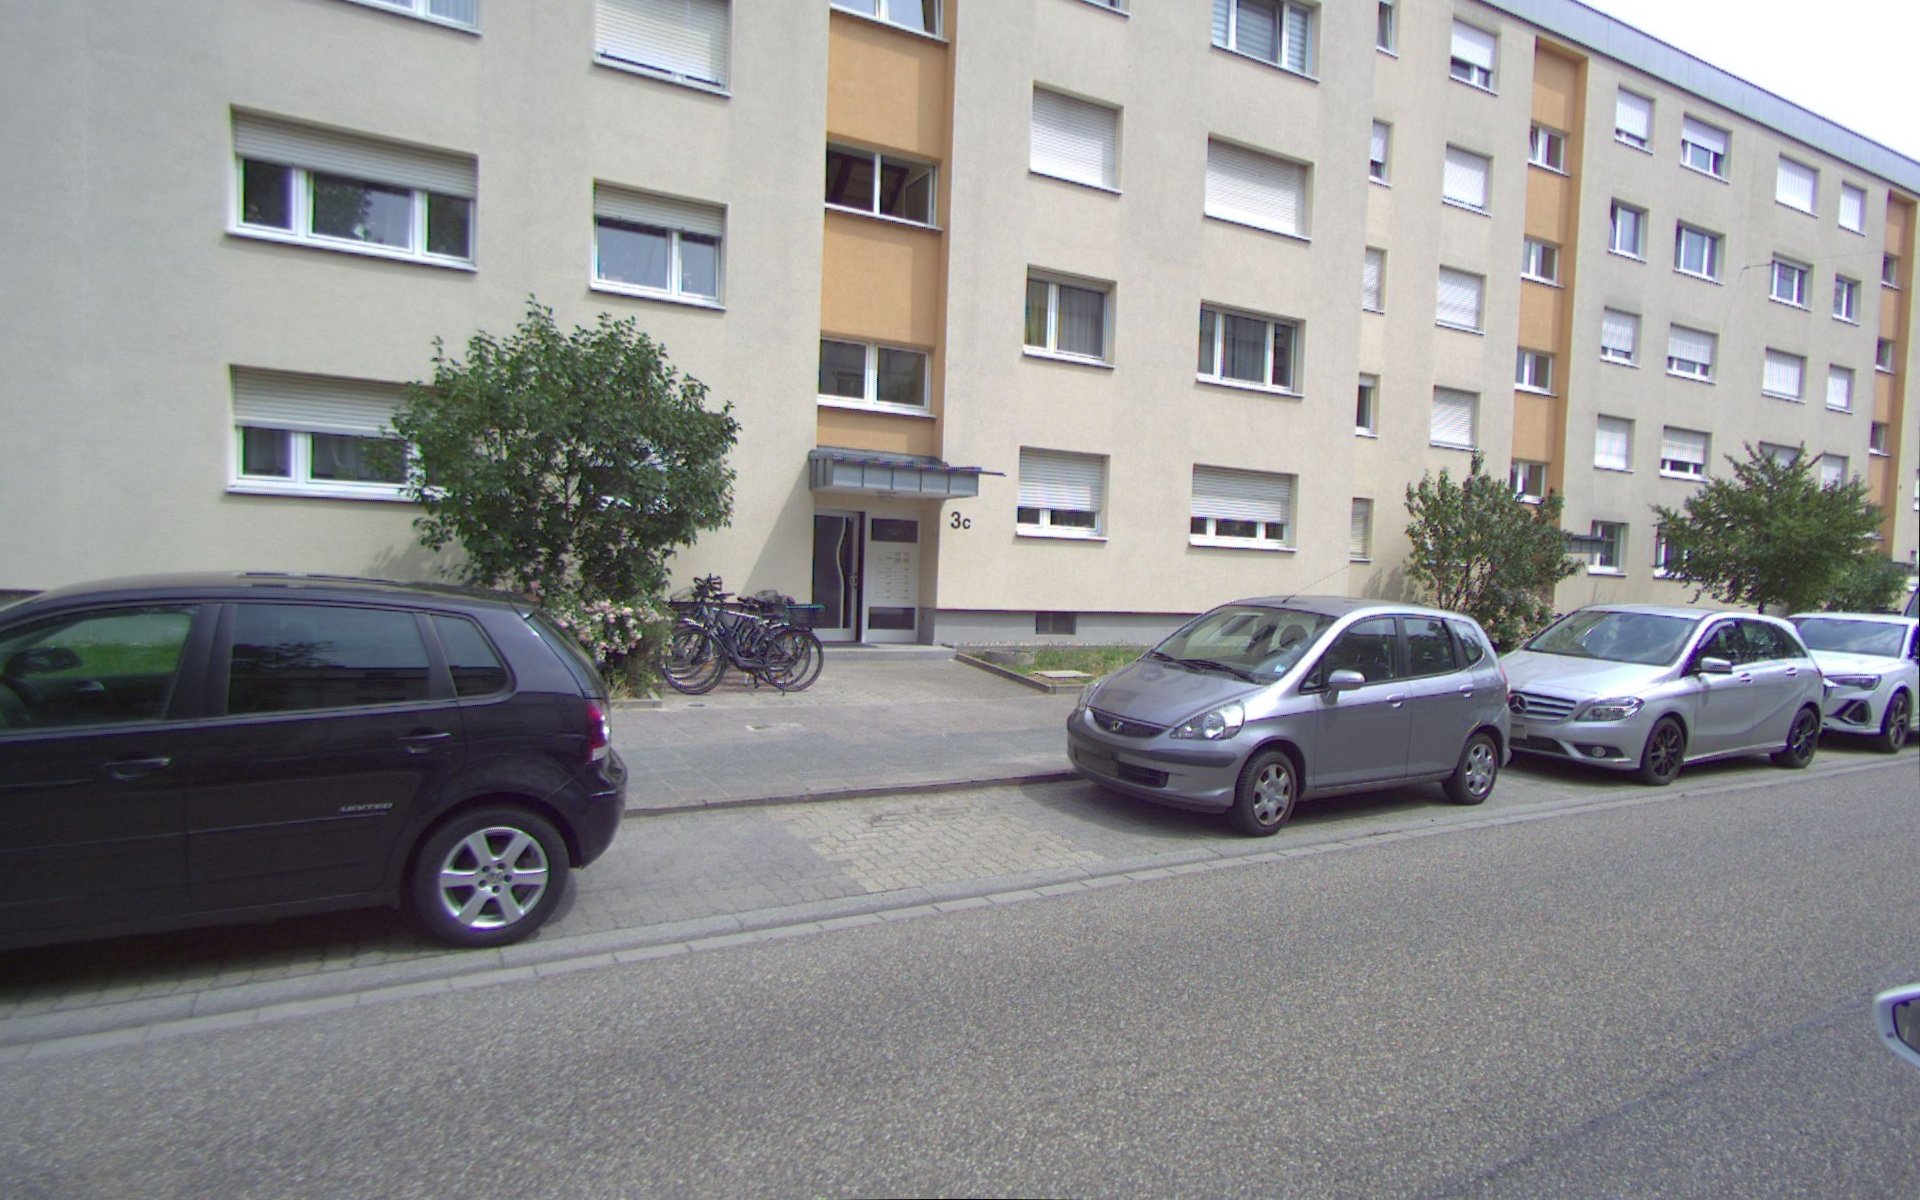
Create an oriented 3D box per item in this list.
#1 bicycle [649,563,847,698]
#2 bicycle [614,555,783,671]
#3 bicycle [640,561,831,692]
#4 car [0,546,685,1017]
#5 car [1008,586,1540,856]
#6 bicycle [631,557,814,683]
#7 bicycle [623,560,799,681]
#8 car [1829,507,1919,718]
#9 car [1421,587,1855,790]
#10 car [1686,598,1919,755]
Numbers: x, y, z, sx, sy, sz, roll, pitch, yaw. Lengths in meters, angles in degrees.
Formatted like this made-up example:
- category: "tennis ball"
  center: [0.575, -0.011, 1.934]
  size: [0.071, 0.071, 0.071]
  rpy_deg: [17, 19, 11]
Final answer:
- category: "bicycle"
  center: [-2.336, 0.316, 11.165]
  size: [2.102, 1.412, 0.460]
  rpy_deg: [0, 2, -27]
- category: "bicycle"
  center: [-3.410, 0.159, 13.187]
  size: [2.102, 1.444, 0.460]
  rpy_deg: [0, 2, -27]
- category: "bicycle"
  center: [-2.579, 0.286, 11.644]
  size: [2.102, 1.431, 0.460]
  rpy_deg: [0, 2, -27]
- category: "car"
  center: [-3.408, 0.571, 4.151]
  size: [4.065, 1.503, 1.810]
  rpy_deg: [1, 3, -29]
- category: "car"
  center: [2.487, 0.712, 7.731]
  size: [3.959, 1.560, 1.713]
  rpy_deg: [0, 2, -31]
- category: "bicycle"
  center: [-2.847, 0.224, 12.141]
  size: [2.102, 1.444, 0.460]
  rpy_deg: [0, 2, -27]
- category: "bicycle"
  center: [-3.122, 0.235, 12.672]
  size: [2.102, 1.444, 0.460]
  rpy_deg: [0, 2, -27]
- category: "car"
  center: [17.253, 0.254, 16.256]
  size: [7.311, 3.065, 2.497]
  rpy_deg: [1, 3, -31]
- category: "car"
  center: [6.922, 0.762, 10.161]
  size: [4.513, 1.601, 1.746]
  rpy_deg: [1, 3, -30]
- category: "car"
  center: [11.340, 0.867, 12.781]
  size: [4.541, 1.601, 1.680]
  rpy_deg: [1, 3, -31]
